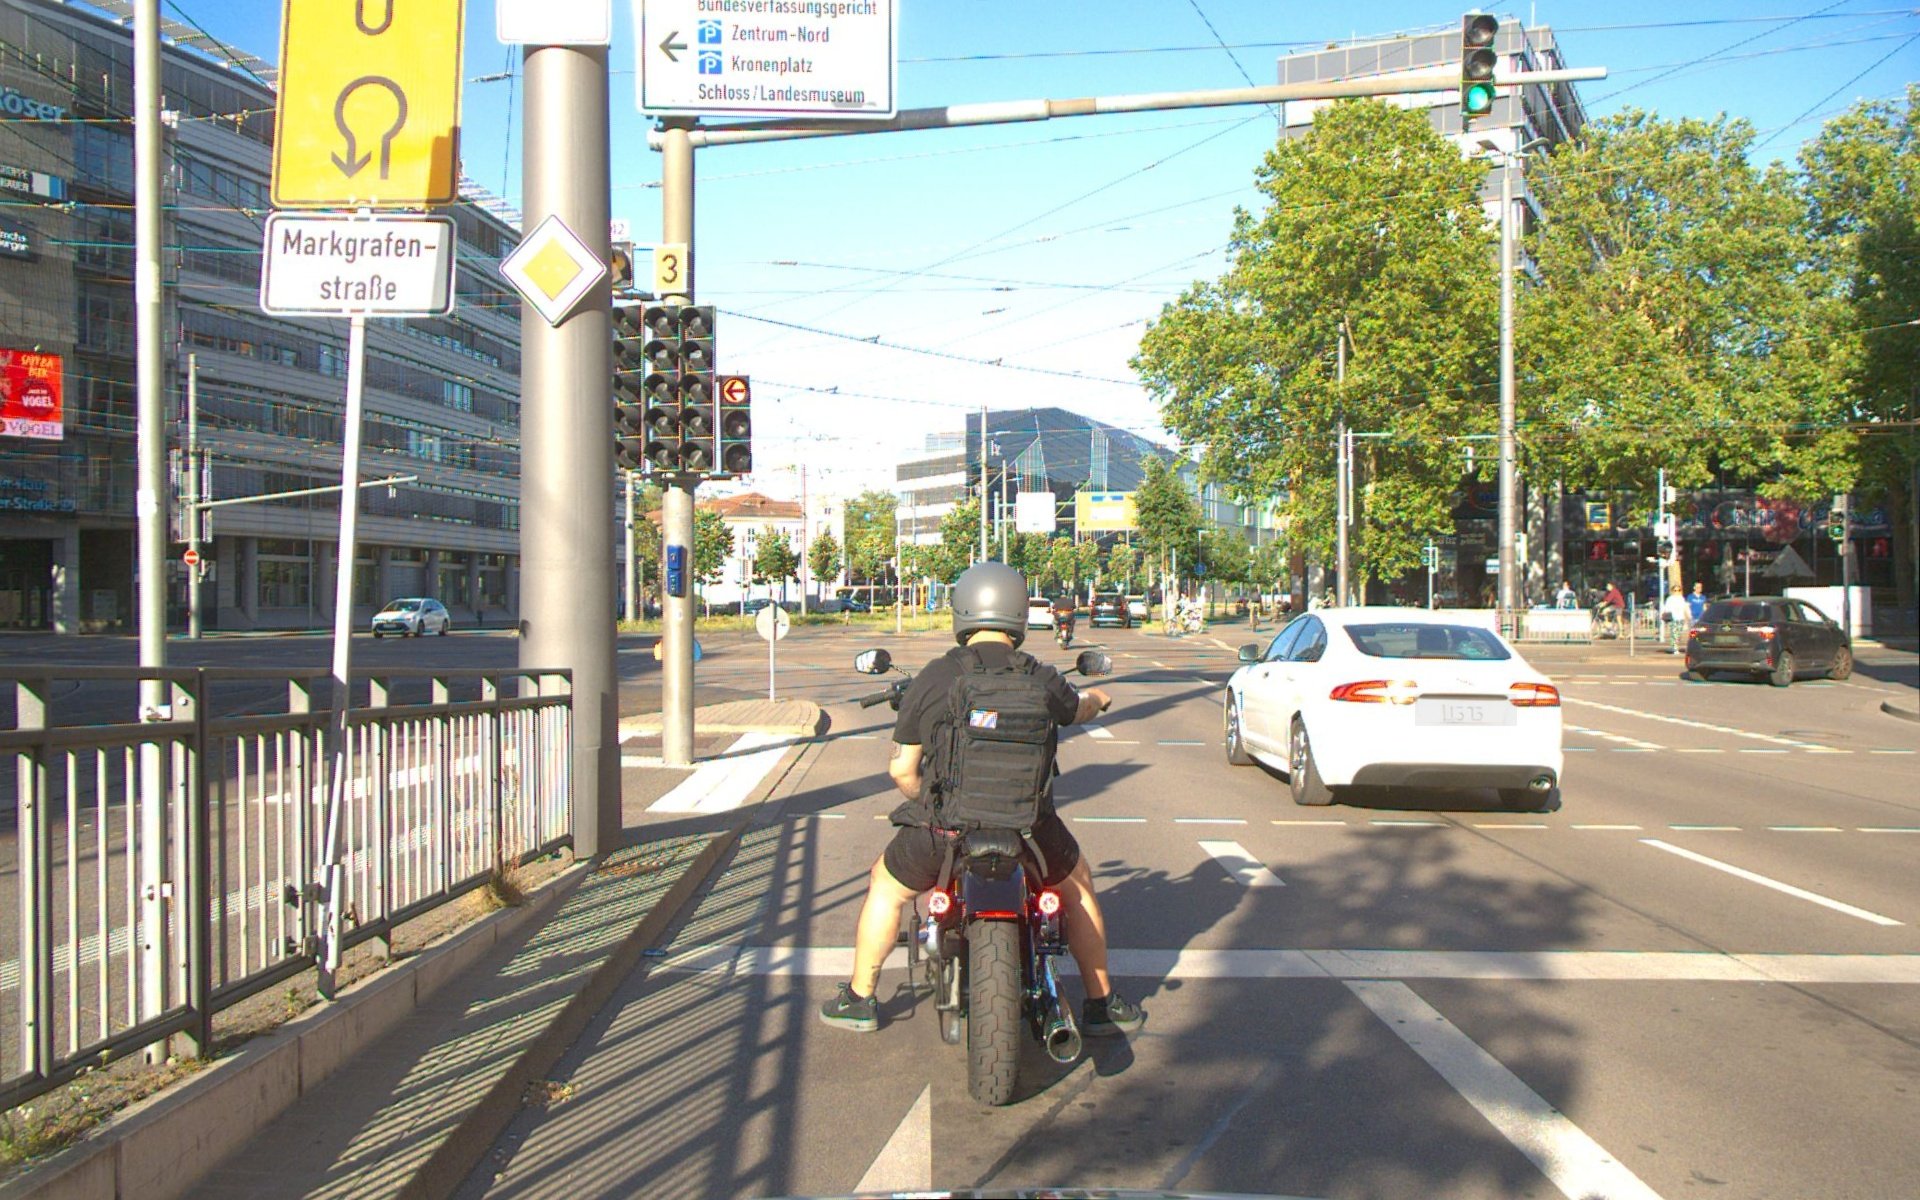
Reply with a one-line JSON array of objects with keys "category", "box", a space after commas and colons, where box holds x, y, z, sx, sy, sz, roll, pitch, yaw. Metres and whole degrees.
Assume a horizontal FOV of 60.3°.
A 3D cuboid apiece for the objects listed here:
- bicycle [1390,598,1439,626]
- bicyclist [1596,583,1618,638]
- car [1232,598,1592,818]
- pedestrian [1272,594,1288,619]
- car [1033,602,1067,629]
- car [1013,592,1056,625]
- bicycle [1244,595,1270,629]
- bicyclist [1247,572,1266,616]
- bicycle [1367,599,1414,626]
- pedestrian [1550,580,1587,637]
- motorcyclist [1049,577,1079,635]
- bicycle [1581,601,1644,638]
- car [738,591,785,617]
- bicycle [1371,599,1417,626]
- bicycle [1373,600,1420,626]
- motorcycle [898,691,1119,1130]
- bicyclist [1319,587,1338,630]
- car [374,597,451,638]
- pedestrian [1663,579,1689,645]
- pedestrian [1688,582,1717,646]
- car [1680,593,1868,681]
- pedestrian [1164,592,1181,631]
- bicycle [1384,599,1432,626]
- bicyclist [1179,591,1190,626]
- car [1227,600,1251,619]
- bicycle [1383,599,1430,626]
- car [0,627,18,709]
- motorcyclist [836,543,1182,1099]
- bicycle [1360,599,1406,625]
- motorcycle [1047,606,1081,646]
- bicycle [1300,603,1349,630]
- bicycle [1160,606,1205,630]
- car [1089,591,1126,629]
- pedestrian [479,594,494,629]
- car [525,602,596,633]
[{"category": "bicycle", "box": [18.139, 0.475, 65.983, 1.842, 1.065, 0.360, 1, -1, -2]}, {"category": "bicyclist", "box": [22.273, 0.364, 56.915, 0.572, 1.870, 0.402, 1, -1, -1]}, {"category": "car", "box": [3.381, 0.722, 13.269, 1.766, 1.455, 4.454, 0, 0, 1]}, {"category": "pedestrian", "box": [17.587, 0.367, 90.965, 0.802, 1.337, 0.638, 1, -1, 8]}, {"category": "car", "box": [5.853, 1.006, 107.202, 1.765, 1.708, 4.044, 1, -1, 9]}, {"category": "car", "box": [3.423, 0.408, 76.599, 1.696, 1.482, 4.417, 1, -1, -1]}, {"category": "bicycle", "box": [12.422, 0.495, 69.230, 0.710, 1.391, 2.918, 1, -1, 3]}, {"category": "bicyclist", "box": [12.444, -0.257, 69.329, 0.682, 1.840, 0.729, 1, -1, 3]}, {"category": "bicycle", "box": [18.159, 0.529, 69.756, 1.842, 1.064, 0.360, 1, 0, -2]}, {"category": "pedestrian", "box": [18.743, 0.264, 50.957, 0.816, 1.734, 0.759, 1, -1, -1]}, {"category": "motorcyclist", "box": [2.927, 0.175, 46.485, 0.780, 1.607, 0.529, 1, -1, -2]}, {"category": "bicycle", "box": [22.460, 0.682, 56.908, 2.001, 1.235, 0.421, 1, -1, -1]}, {"category": "car", "box": [-12.543, 0.279, 104.726, 1.712, 1.550, 4.003, 1, -1, 13]}, {"category": "bicycle", "box": [18.168, 0.531, 69.256, 1.842, 1.064, 0.360, 1, 0, -2]}, {"category": "bicycle", "box": [18.148, 0.538, 68.769, 1.842, 1.065, 0.360, 1, -1, -2]}, {"category": "motorcycle", "box": [0.115, 0.913, 5.643, 0.588, 1.054, 2.233, 1, 0, -1]}, {"category": "bicyclist", "box": [14.571, 0.346, 65.384, 0.673, 1.702, 0.541, 0, -1, 18]}, {"category": "car", "box": [-20.852, 0.650, 63.176, 1.789, 1.455, 4.525, 0, 0, -5]}, {"category": "pedestrian", "box": [17.244, 0.288, 39.846, 0.554, 1.559, 0.702, 1, -1, 22]}, {"category": "pedestrian", "box": [17.884, 0.336, 39.839, 0.554, 1.505, 0.702, 1, -1, 20]}, {"category": "car", "box": [14.737, 0.630, 29.858, 4.007, 1.475, 1.710, 0, 0, -43]}, {"category": "pedestrian", "box": [8.836, 0.487, 68.740, 0.576, 1.584, 0.488, 1, -1, -9]}, {"category": "bicycle", "box": [18.089, 0.494, 66.764, 1.842, 1.065, 0.360, 1, -1, -2]}, {"category": "bicyclist", "box": [9.123, 0.354, 67.209, 0.374, 1.397, 0.344, 1, -1, -9]}, {"category": "car", "box": [26.734, 0.937, 158.411, 1.765, 1.708, 4.043, 1, -1, 15]}, {"category": "bicycle", "box": [18.251, 0.517, 67.583, 1.842, 1.065, 0.360, 1, -1, -2]}, {"category": "car", "box": [-14.512, 0.902, 22.424, 2.835, 1.081, 1.235, 1, -1, -22]}, {"category": "motorcyclist", "box": [0.137, 0.643, 5.280, 1.009, 1.621, 0.873, 0, 0, -1]}, {"category": "bicycle", "box": [18.133, 0.530, 70.906, 1.842, 1.064, 0.360, 1, 0, -2]}, {"category": "motorcycle", "box": [2.916, 0.723, 46.654, 0.787, 1.069, 2.375, 1, -1, -1]}, {"category": "bicycle", "box": [14.427, 0.668, 65.431, 1.831, 1.062, 0.537, 0, -1, 18]}, {"category": "bicycle", "box": [9.034, 0.718, 67.188, 1.792, 0.942, 0.357, 1, -1, -9]}, {"category": "car", "box": [7.433, 0.478, 83.597, 1.695, 1.762, 4.614, 1, 1, 3]}, {"category": "pedestrian", "box": [-27.708, 0.661, 96.799, 0.617, 2.049, 0.754, 1, -1, -1]}, {"category": "car", "box": [-19.613, 0.867, 81.280, 1.786, 1.455, 4.244, 1, -1, 11]}]
